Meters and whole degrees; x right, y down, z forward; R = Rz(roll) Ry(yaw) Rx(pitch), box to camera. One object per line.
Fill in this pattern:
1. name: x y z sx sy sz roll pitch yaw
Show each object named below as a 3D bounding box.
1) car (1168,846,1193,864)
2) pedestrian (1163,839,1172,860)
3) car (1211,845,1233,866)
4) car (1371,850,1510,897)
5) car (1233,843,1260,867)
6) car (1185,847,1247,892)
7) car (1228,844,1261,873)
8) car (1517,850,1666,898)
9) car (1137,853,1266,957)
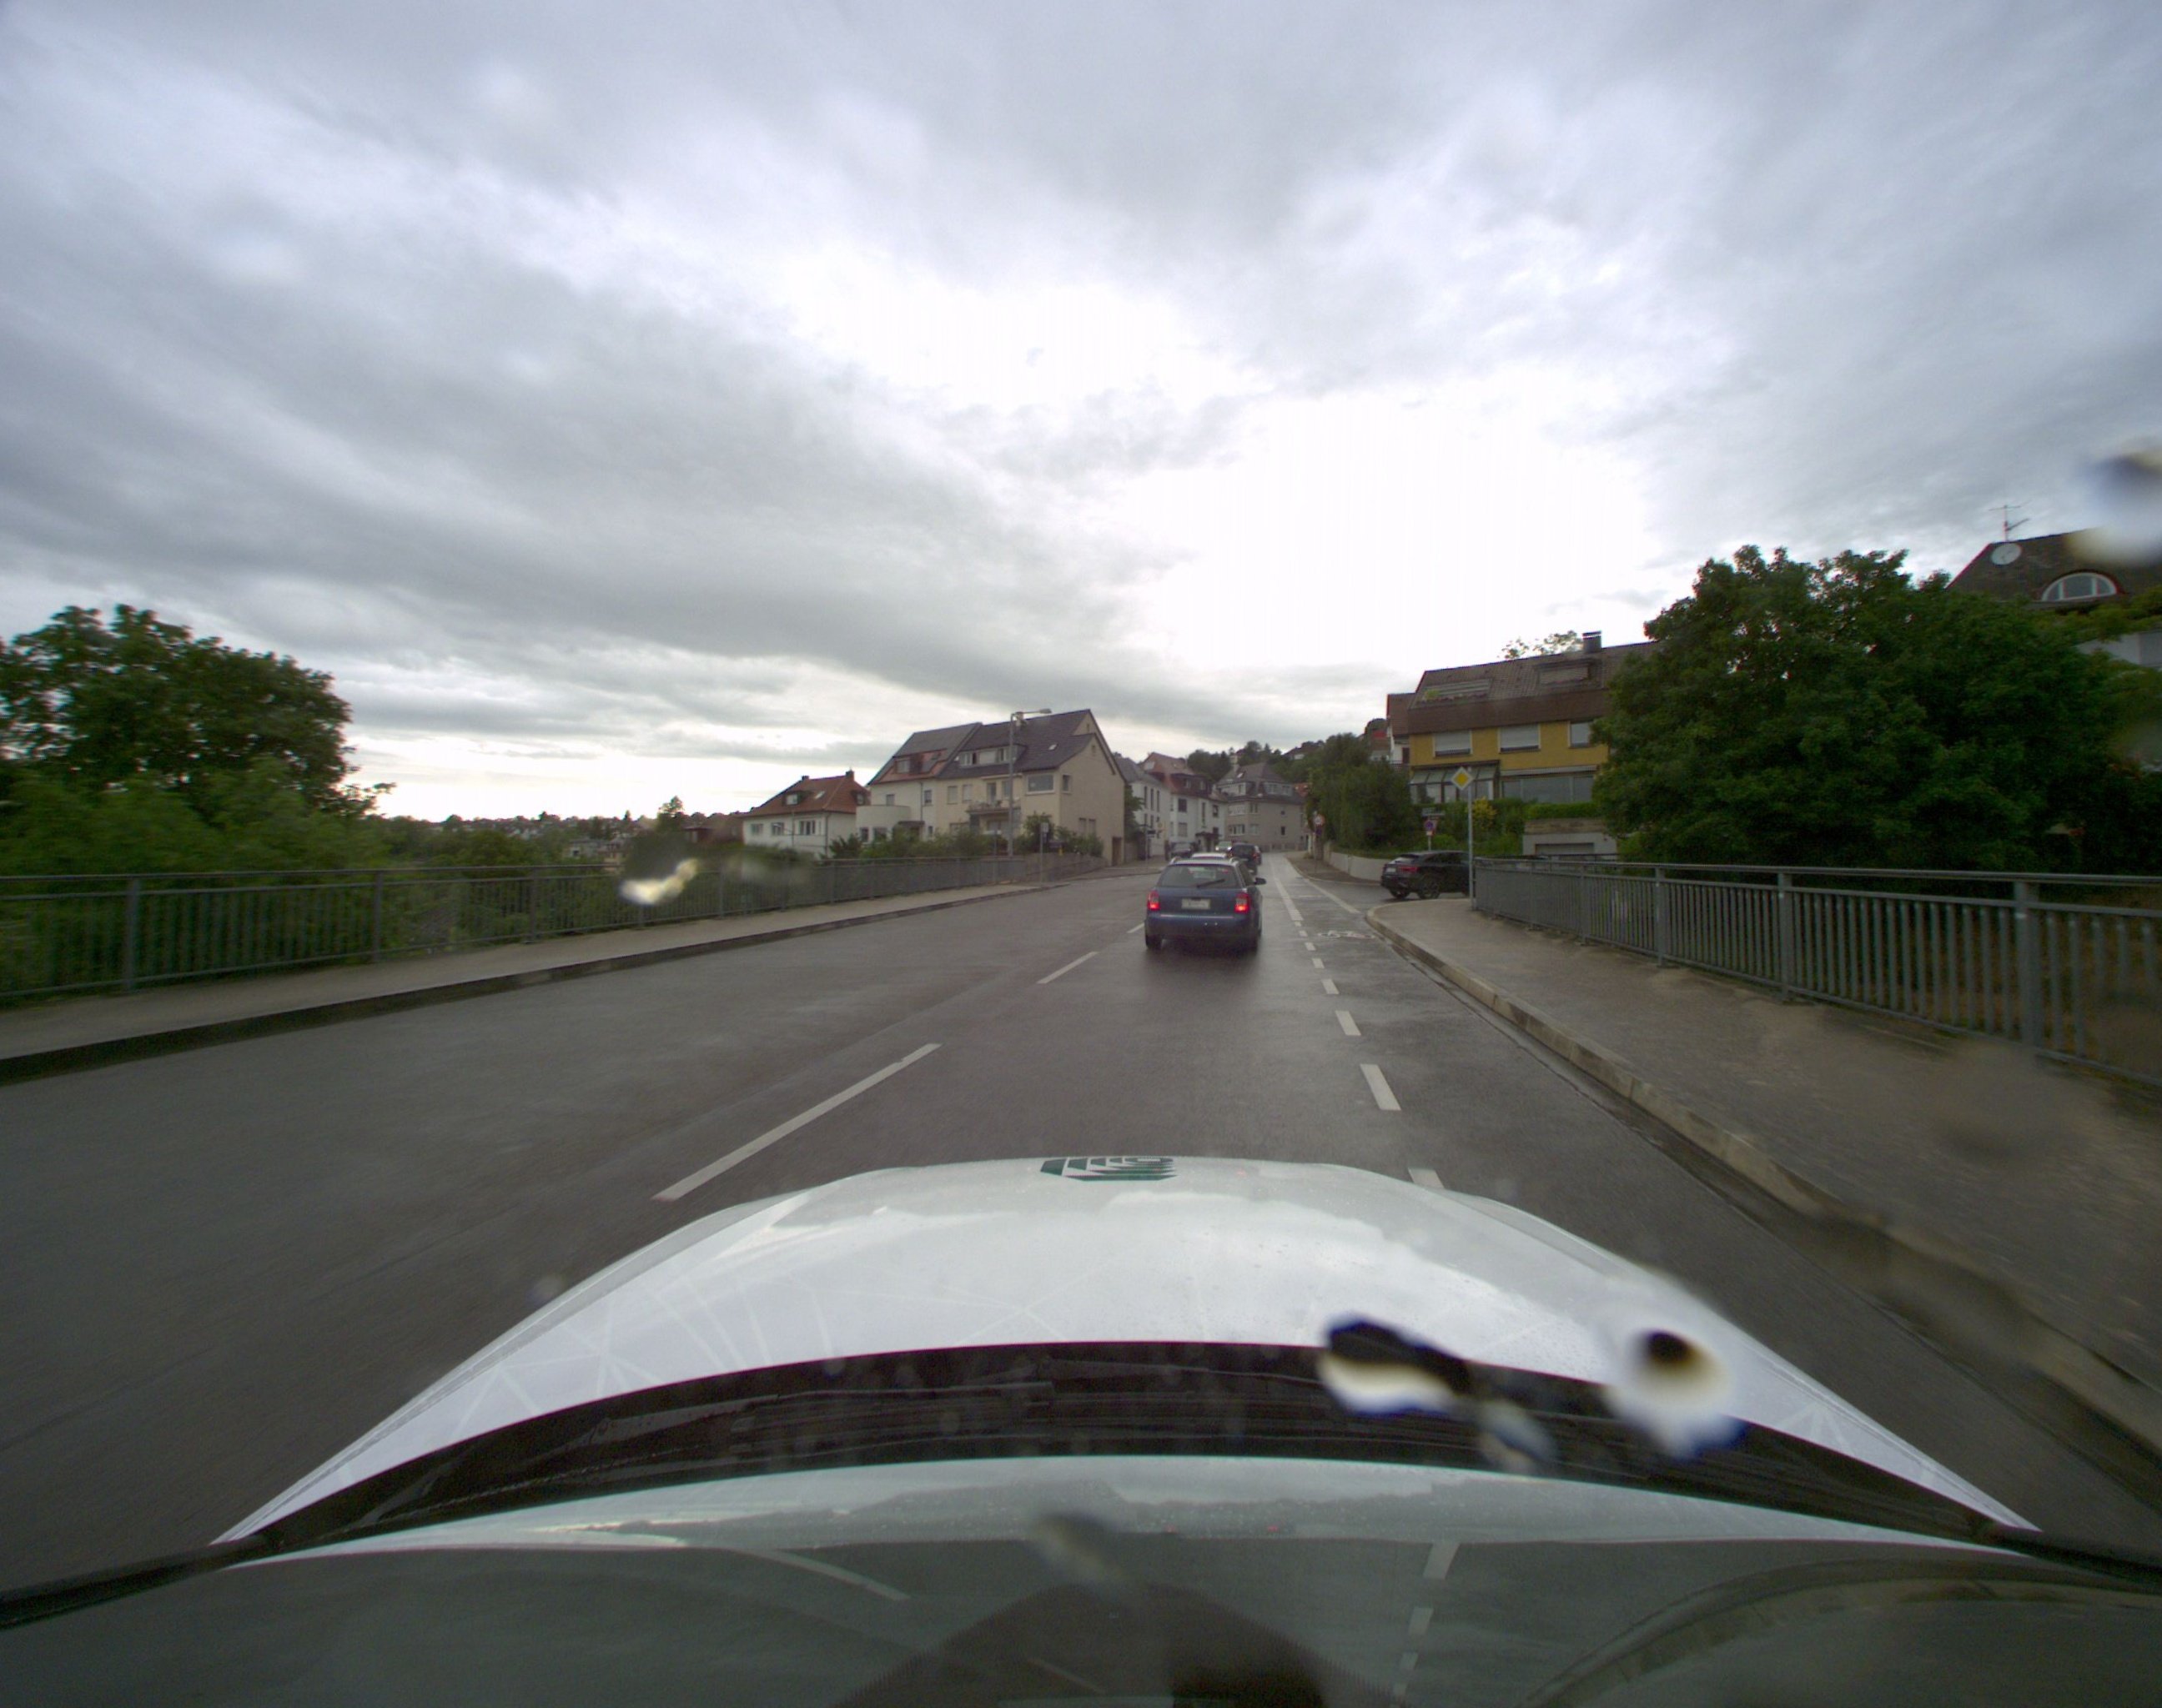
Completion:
1. car: 9.844 0.068 80.203 1.980 1.708 4.014 -1 0 13
2. pedestrian: 7.294 -0.399 68.416 0.654 1.691 0.582 -3 2 6
3. car: 14.676 0.108 84.517 1.980 2.013 4.015 1 2 13
4. car: 11.501 0.606 26.113 3.781 1.424 1.818 0 -1 -16
5. car: 12.980 0.082 64.044 1.811 1.730 3.795 2 1 9
6. car: 4.734 0.512 28.184 1.878 1.389 4.013 2 0 12
7. car: 9.989 0.257 49.902 1.810 1.617 3.797 2 1 11
8. car: 16.713 0.634 26.793 3.759 1.424 1.828 2 0 1
9. car: 2.164 0.728 13.699 1.735 1.407 4.015 1 1 14
